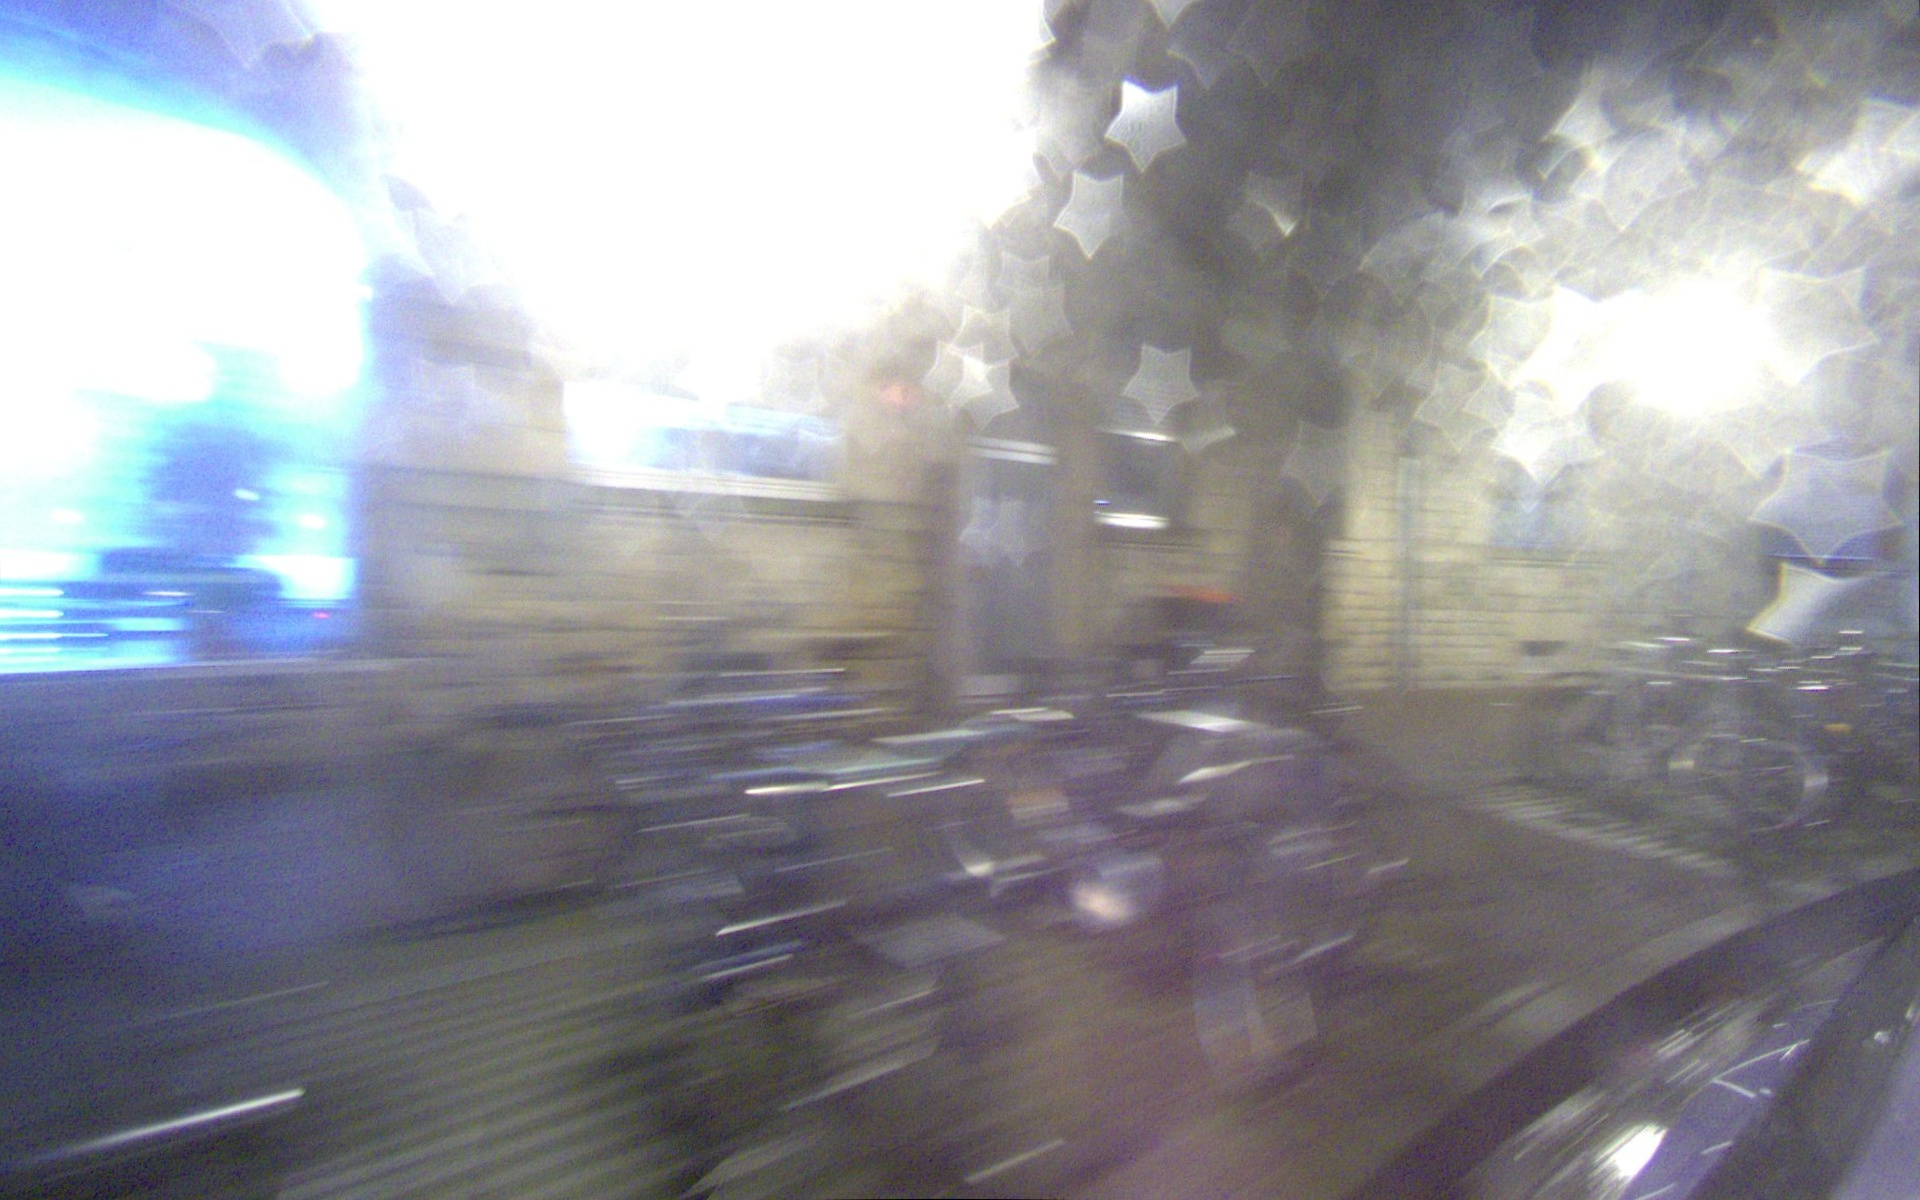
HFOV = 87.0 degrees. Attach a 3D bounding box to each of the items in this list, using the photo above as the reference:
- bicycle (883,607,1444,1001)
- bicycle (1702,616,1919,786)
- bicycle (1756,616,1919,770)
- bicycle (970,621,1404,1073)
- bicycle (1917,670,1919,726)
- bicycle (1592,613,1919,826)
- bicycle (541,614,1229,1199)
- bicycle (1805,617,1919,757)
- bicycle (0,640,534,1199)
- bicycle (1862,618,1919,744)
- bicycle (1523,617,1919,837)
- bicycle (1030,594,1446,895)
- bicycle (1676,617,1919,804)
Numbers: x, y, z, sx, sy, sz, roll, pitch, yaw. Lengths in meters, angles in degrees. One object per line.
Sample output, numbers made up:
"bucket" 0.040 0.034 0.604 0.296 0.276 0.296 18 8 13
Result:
"bicycle" 0.694 0.619 3.809 1.960 1.066 0.635 3 3 32
"bicycle" 6.483 0.688 7.170 0.629 1.019 1.980 1 3 -15
"bicycle" 7.084 0.694 7.386 0.629 1.019 1.980 1 3 -15
"bicycle" 0.620 0.654 3.611 0.629 1.019 1.980 1 3 -15
"bicycle" 9.623 0.669 8.670 0.715 1.128 1.938 1 3 -15
"bicycle" 5.235 0.671 6.573 0.629 1.046 1.980 1 3 -15
"bicycle" -0.366 0.643 2.569 0.632 1.078 1.971 -1 3 -43
"bicycle" 7.745 0.708 7.702 0.629 1.019 1.980 1 3 -15
"bicycle" -1.425 0.670 1.733 0.632 1.019 1.971 -1 3 -43
"bicycle" 8.419 0.715 7.895 0.673 1.019 1.980 1 3 -15
"bicycle" 4.588 0.684 6.331 0.629 1.019 1.980 1 3 -15
"bicycle" 1.252 0.565 4.892 0.709 1.100 1.822 -1 3 -43
"bicycle" 5.953 0.692 6.717 0.629 1.019 1.980 1 3 -15
